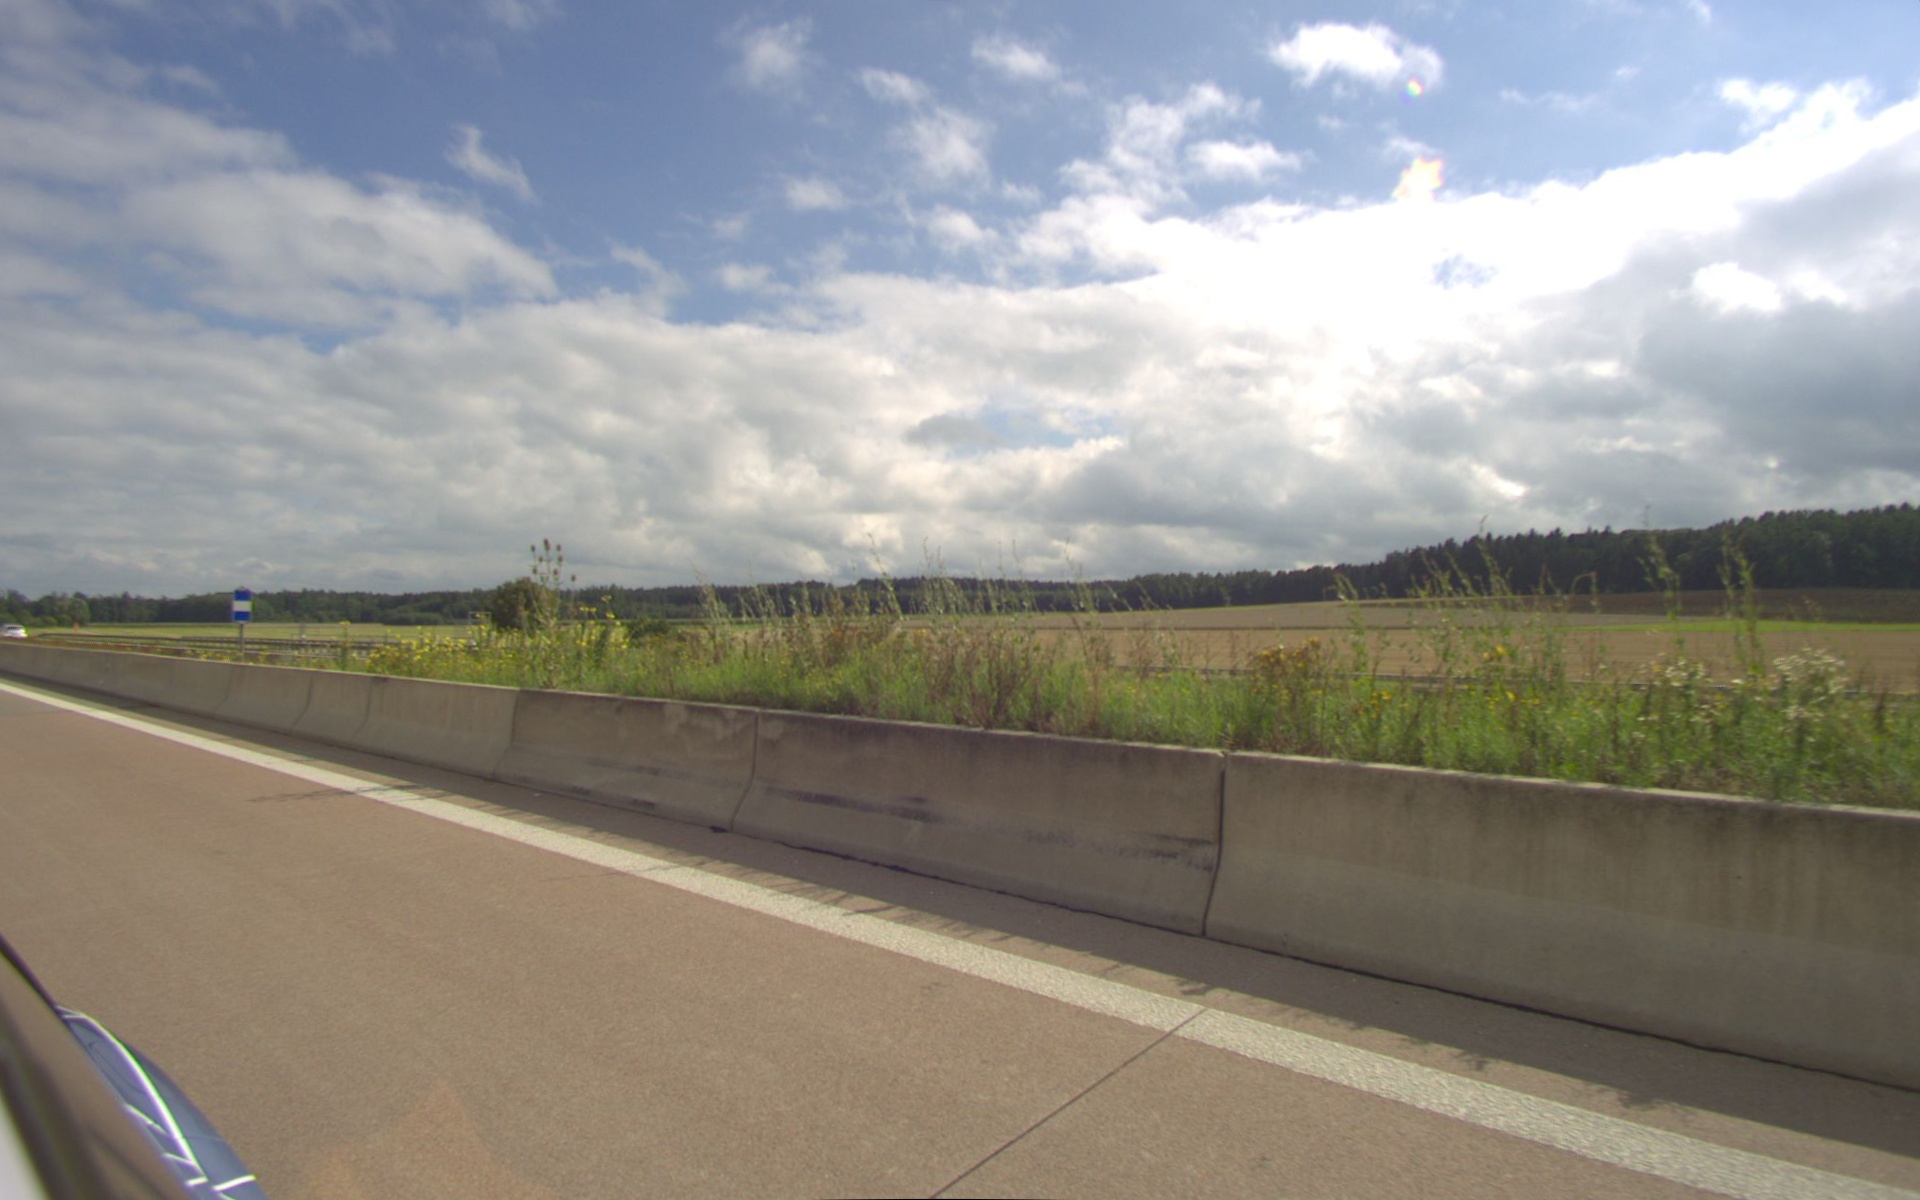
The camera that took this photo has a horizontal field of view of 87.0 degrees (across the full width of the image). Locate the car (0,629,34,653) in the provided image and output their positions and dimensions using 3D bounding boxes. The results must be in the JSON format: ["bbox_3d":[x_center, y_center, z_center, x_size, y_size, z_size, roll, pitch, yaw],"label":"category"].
[{"bbox_3d":[-83.856,3.633,89.751,4.709,2.086,1.973,-1,-3,41],"label":"car"}]
